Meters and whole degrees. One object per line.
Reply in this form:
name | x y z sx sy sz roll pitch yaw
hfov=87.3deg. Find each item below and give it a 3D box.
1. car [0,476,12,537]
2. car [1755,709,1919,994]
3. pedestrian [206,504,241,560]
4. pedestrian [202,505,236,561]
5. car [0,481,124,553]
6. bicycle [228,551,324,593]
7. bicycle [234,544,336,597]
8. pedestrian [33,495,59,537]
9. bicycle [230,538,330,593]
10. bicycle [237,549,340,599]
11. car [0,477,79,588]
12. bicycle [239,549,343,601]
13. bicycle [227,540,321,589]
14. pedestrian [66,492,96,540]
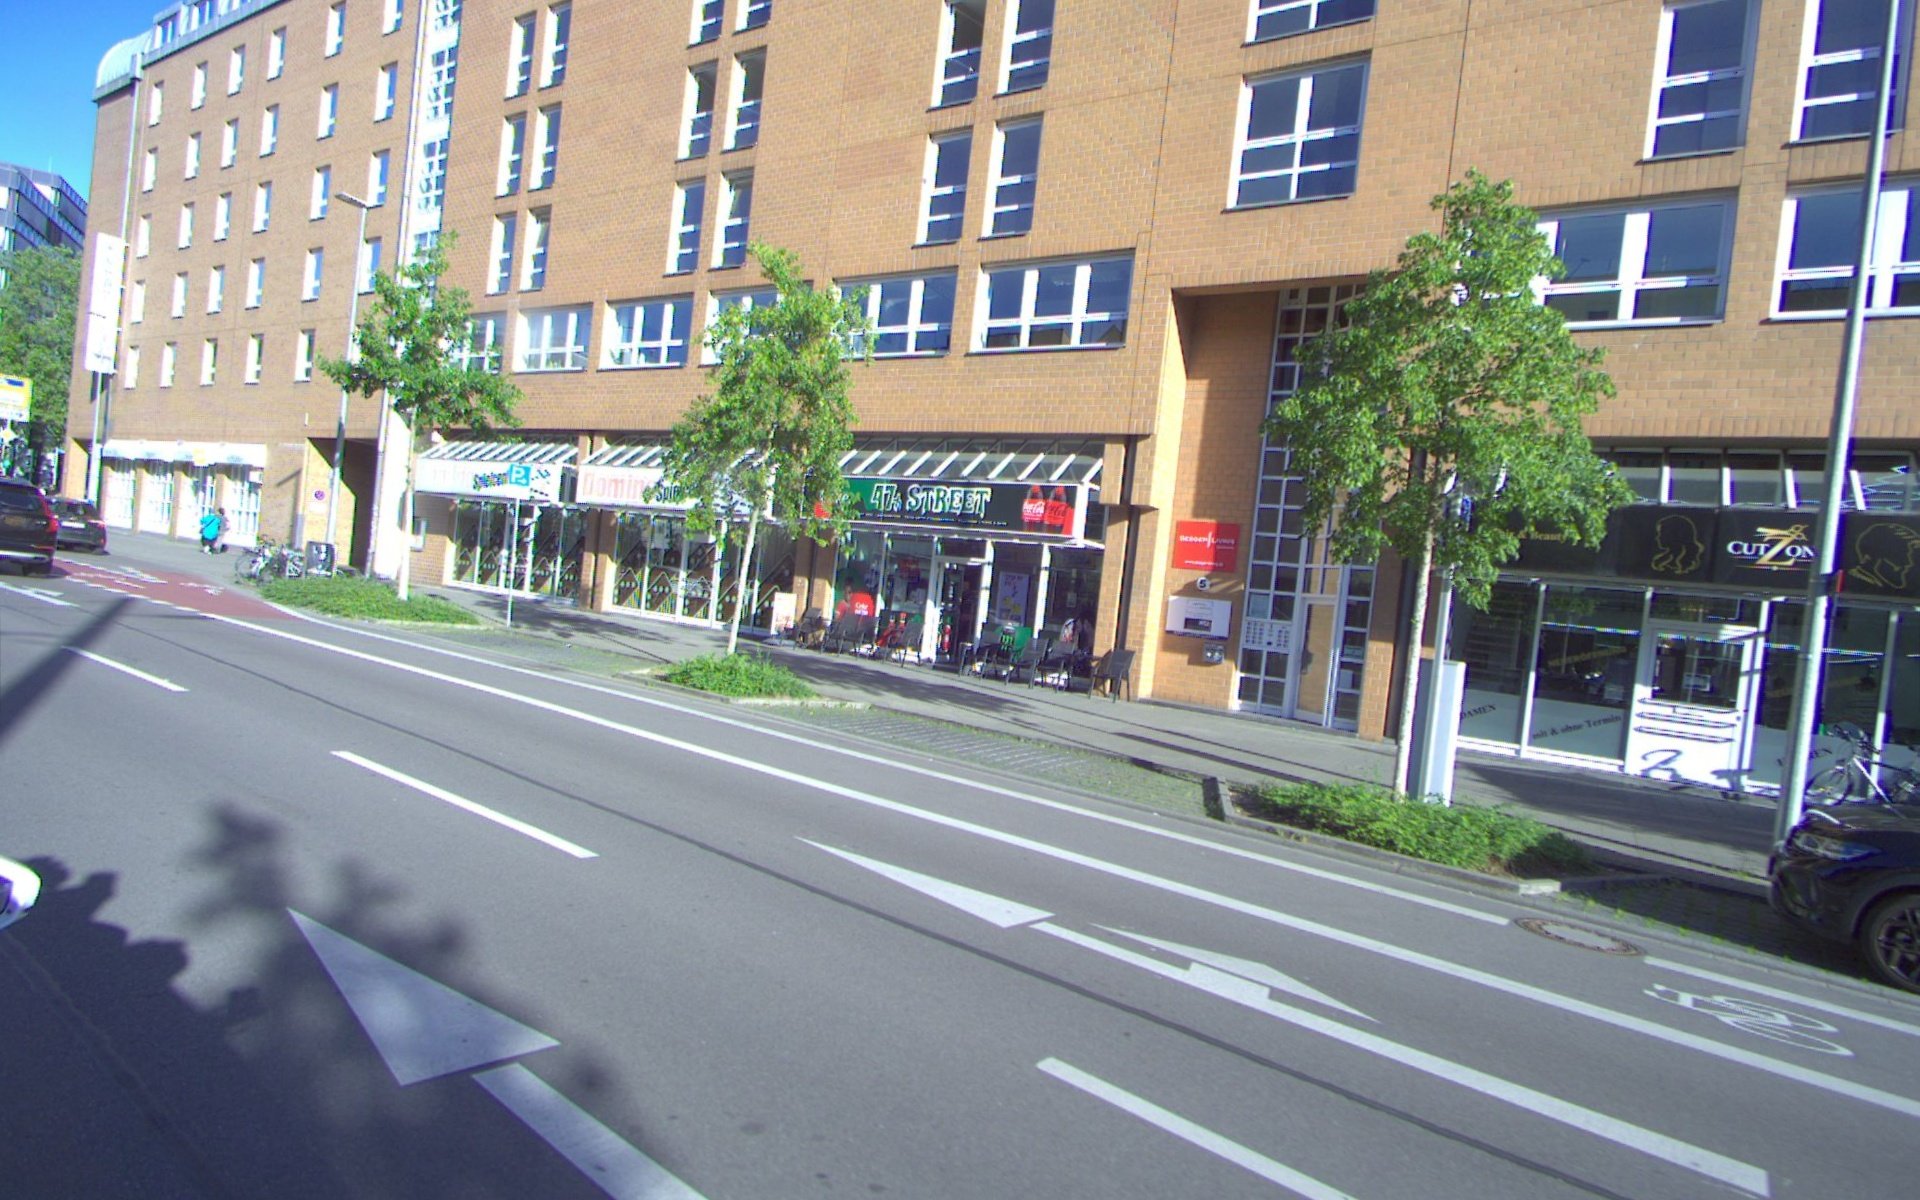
car | -33.546 -3.305 33.590 3.936 1.986 1.861 7 0 34
car | 7.636 1.819 6.187 4.169 1.657 1.719 6 1 39
pedestrian | -25.349 -2.340 34.626 0.736 1.844 0.607 6 1 32
pedestrian | -25.923 -2.348 35.181 0.736 1.844 0.607 6 1 32
car | -26.303 -2.435 29.133 4.557 1.578 1.850 6 -2 33
bicycle | -17.401 -0.707 25.648 1.930 0.846 0.550 6 1 -31
bicycle | -16.407 -0.712 24.480 0.547 1.088 1.940 6 1 43
pedestrian | -42.682 -3.920 46.980 0.736 1.844 0.607 6 1 32
bicycle | -16.770 -0.835 24.846 0.484 1.151 1.940 6 1 43
bicycle | -15.948 -0.608 23.917 1.936 0.981 0.548 5 1 -40
car | -18.390 -1.421 18.525 4.557 1.779 1.978 6 -2 33
bicycle | -15.612 -0.570 23.505 1.936 1.035 0.496 5 1 -40
bicycle | -18.273 -0.939 26.845 0.617 1.088 1.939 6 1 44
pedestrian | -35.530 -3.391 40.664 0.736 1.844 0.607 6 1 32
